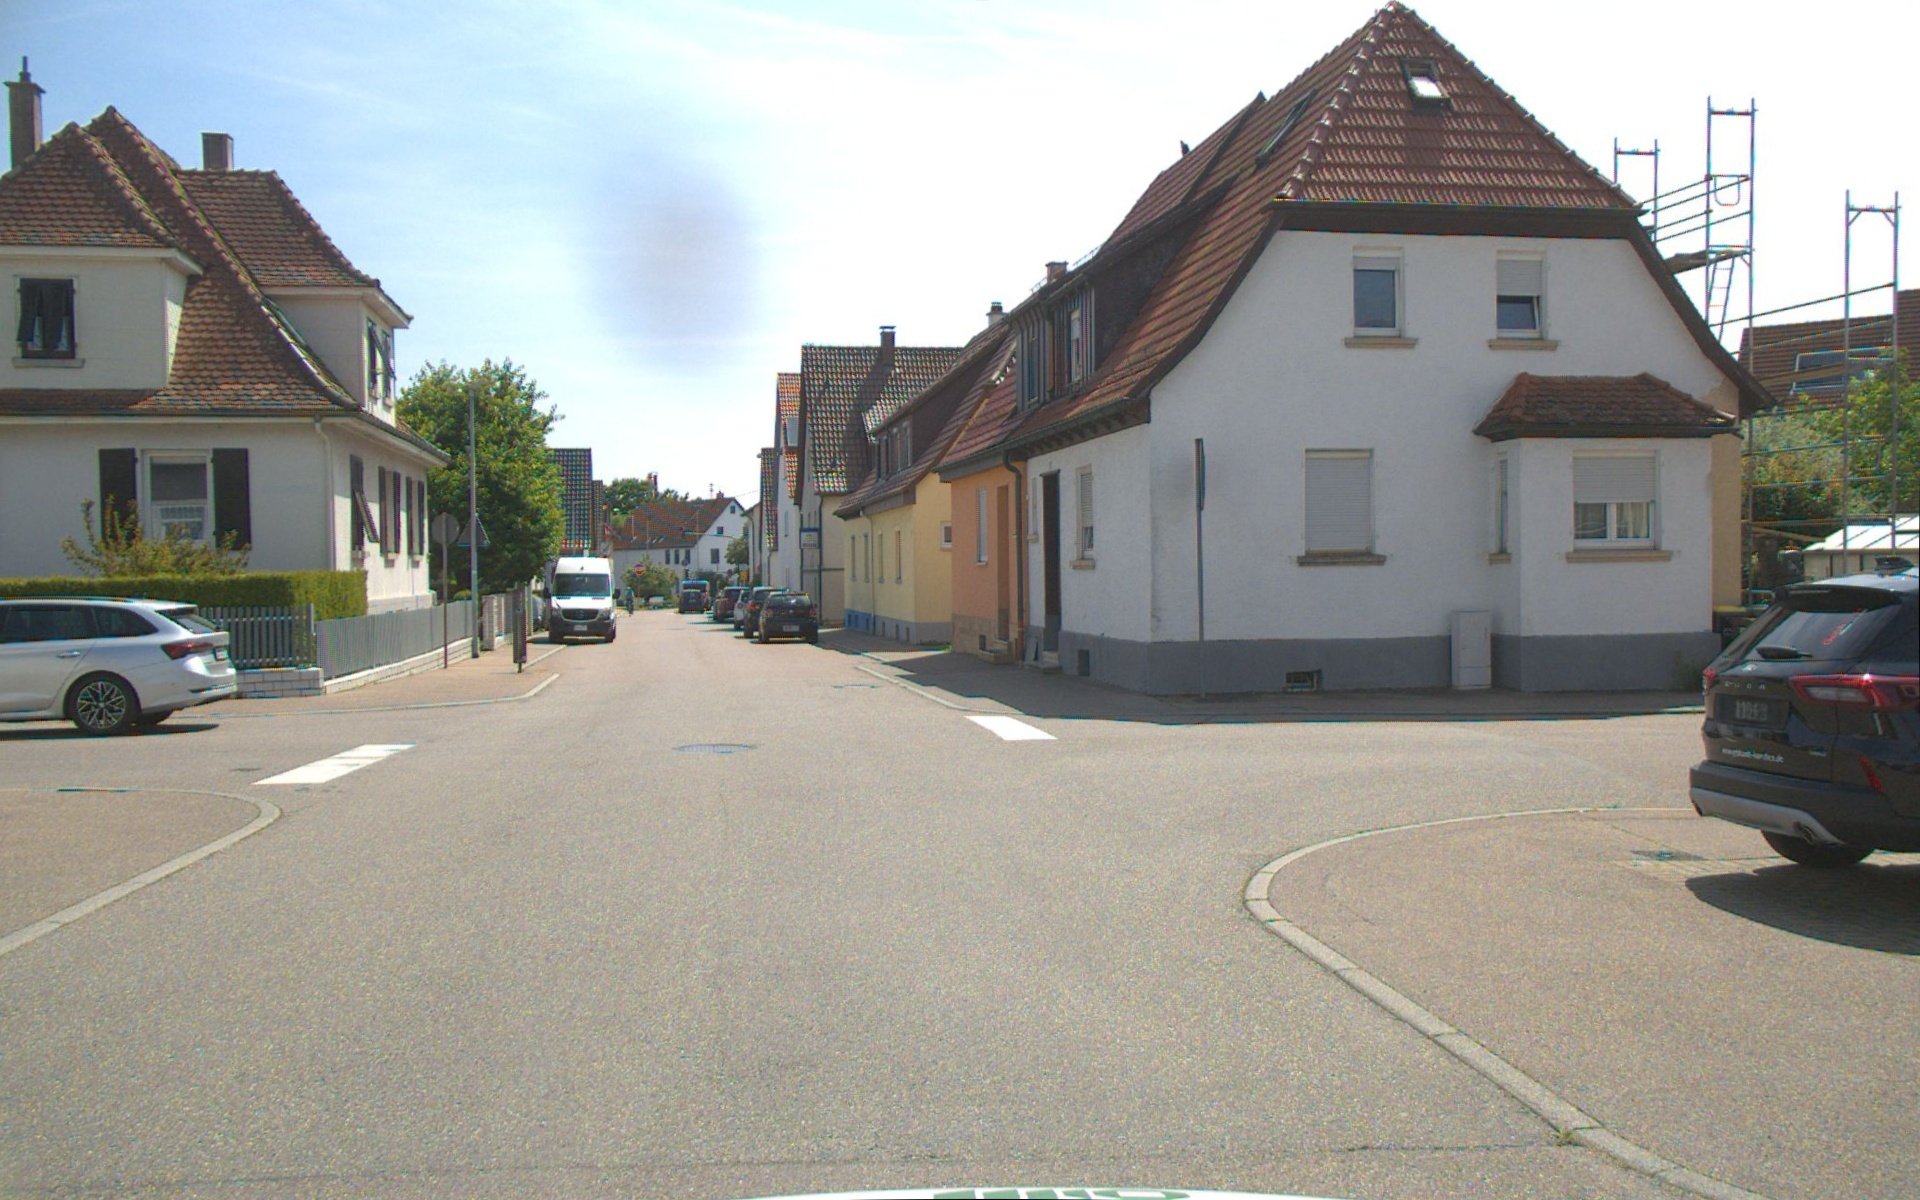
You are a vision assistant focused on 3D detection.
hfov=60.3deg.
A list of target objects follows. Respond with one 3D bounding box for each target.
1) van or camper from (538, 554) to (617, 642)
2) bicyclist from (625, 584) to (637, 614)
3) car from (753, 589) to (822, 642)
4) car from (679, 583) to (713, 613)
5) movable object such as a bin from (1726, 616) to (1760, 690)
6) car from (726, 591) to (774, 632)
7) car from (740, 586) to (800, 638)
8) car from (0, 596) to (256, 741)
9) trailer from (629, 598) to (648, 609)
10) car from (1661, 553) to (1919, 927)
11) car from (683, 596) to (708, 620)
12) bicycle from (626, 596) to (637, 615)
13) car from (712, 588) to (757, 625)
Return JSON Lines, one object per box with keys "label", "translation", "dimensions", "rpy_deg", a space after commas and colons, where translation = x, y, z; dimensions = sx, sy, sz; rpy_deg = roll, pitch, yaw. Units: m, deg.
{"label": "van or camper", "translation": [-12.069, -0.086, 52.570], "dimensions": [2.145, 2.616, 6.789], "rpy_deg": [0, 0, -11]}
{"label": "bicyclist", "translation": [-20.544, -0.073, 103.400], "dimensions": [0.700, 1.830, 0.939], "rpy_deg": [-1, 0, -12]}
{"label": "car", "translation": [-5.095, 0.420, 48.480], "dimensions": [1.583, 1.456, 3.742], "rpy_deg": [-1, 0, -12]}
{"label": "car", "translation": [-19.887, -0.139, 124.734], "dimensions": [2.087, 2.196, 4.732], "rpy_deg": [-1, 0, -4]}
{"label": "movable object such as a bin", "translation": [10.381, 0.701, 21.926], "dimensions": [0.223, 0.963, 0.359], "rpy_deg": [0, -1, -14]}
{"label": "car", "translation": [-8.359, 0.437, 65.675], "dimensions": [1.644, 1.586, 3.031], "rpy_deg": [0, 0, -12]}
{"label": "car", "translation": [-6.228, 0.375, 53.957], "dimensions": [1.697, 1.628, 4.243], "rpy_deg": [0, 0, -10]}
{"label": "car", "translation": [-10.169, 0.719, 17.802], "dimensions": [4.495, 1.463, 1.753], "rpy_deg": [-1, 0, -14]}
{"label": "trailer", "translation": [-27.074, 0.288, 139.236], "dimensions": [1.474, 0.944, 1.010], "rpy_deg": [1, 0, -9]}
{"label": "car", "translation": [6.075, 0.611, 8.465], "dimensions": [4.207, 1.682, 1.847], "rpy_deg": [0, 0, -3]}
{"label": "car", "translation": [-17.702, 0.509, 110.738], "dimensions": [1.487, 1.594, 3.179], "rpy_deg": [0, 0, -7]}
{"label": "bicycle", "translation": [-20.555, 0.350, 103.439], "dimensions": [0.658, 1.152, 2.183], "rpy_deg": [-1, 0, -11]}
{"label": "car", "translation": [-10.993, 0.303, 80.431], "dimensions": [1.843, 1.730, 4.170], "rpy_deg": [0, 0, -12]}
